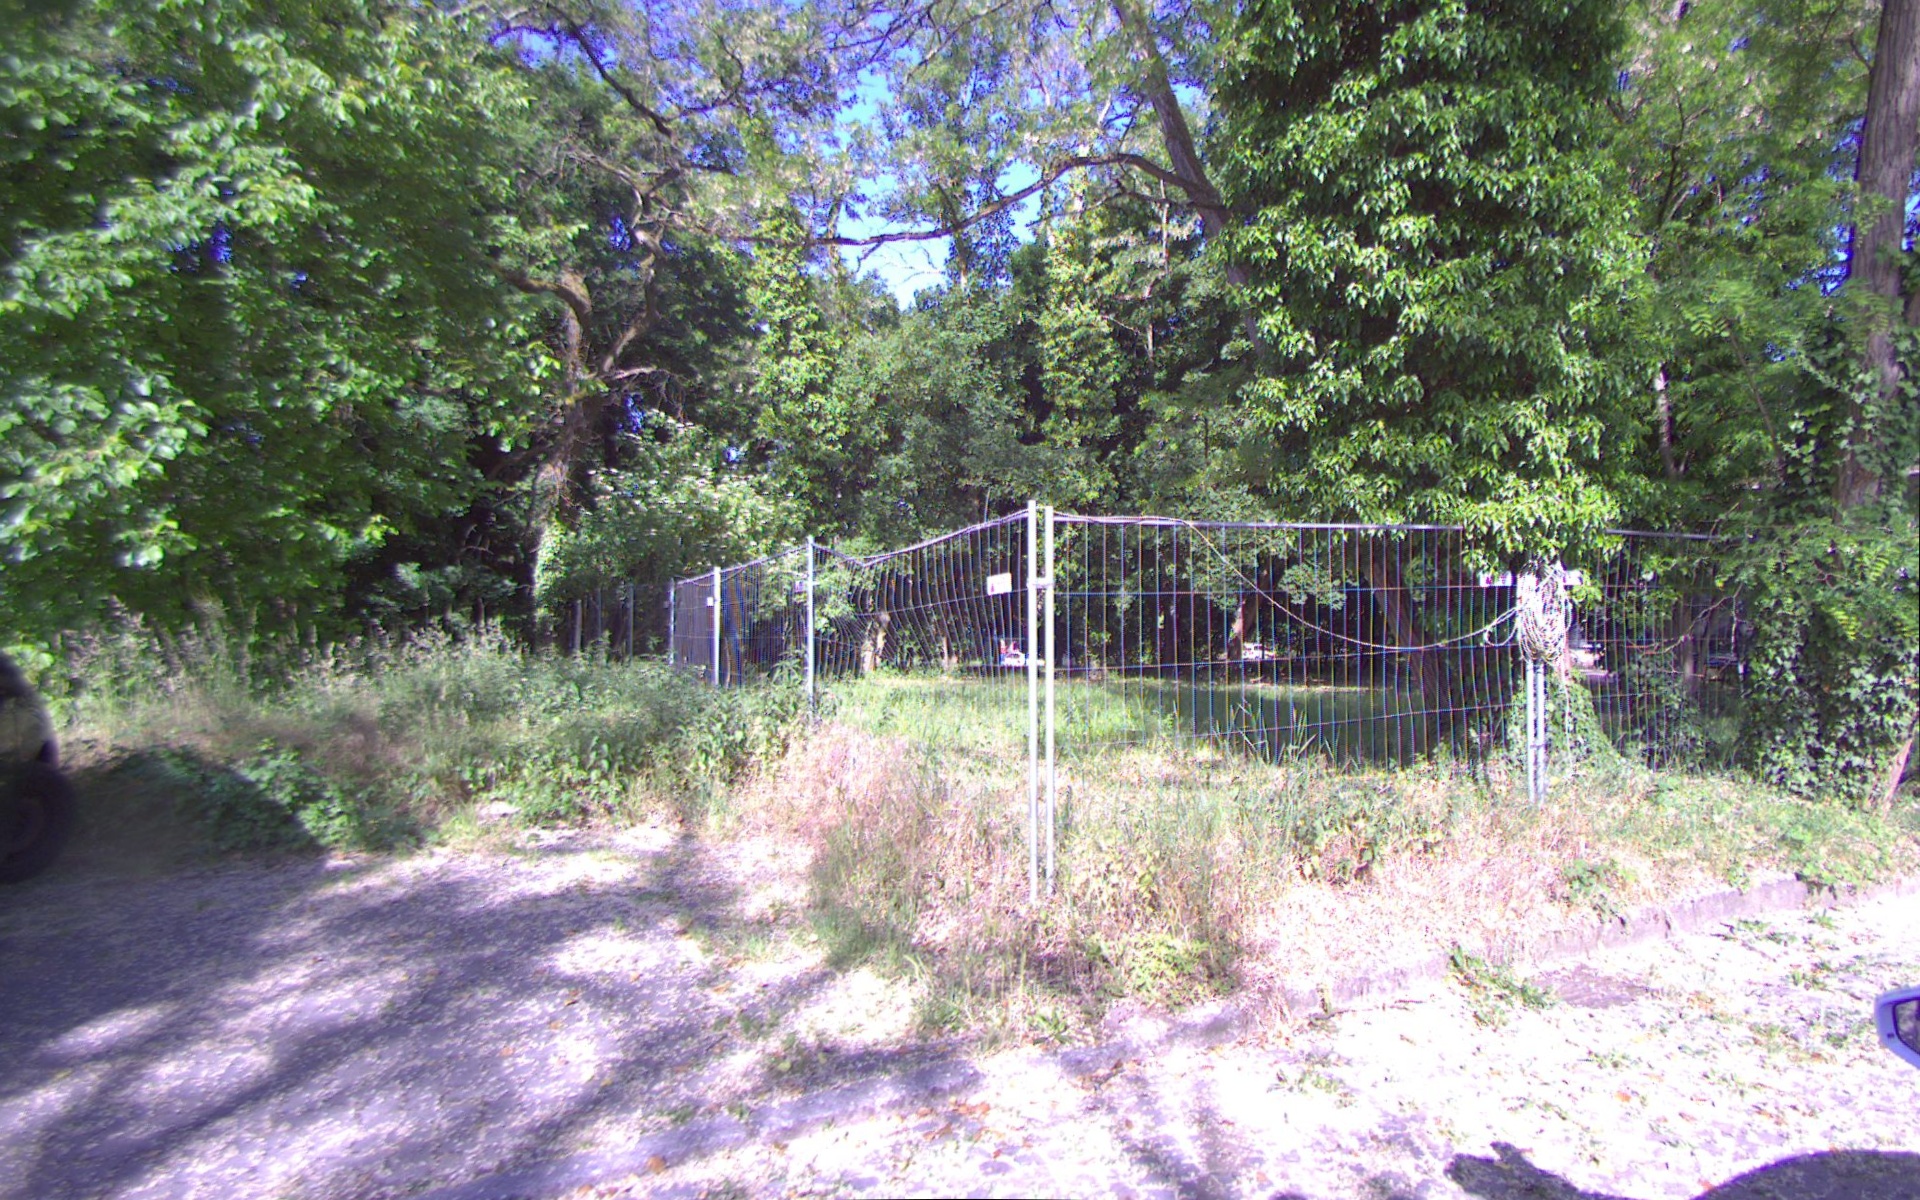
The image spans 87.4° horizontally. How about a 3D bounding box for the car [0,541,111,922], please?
[{"bbox_3d":[-4.783,0.564,3.637,1.772,1.674,4.267,2,1,-29],"label":"car"}]
